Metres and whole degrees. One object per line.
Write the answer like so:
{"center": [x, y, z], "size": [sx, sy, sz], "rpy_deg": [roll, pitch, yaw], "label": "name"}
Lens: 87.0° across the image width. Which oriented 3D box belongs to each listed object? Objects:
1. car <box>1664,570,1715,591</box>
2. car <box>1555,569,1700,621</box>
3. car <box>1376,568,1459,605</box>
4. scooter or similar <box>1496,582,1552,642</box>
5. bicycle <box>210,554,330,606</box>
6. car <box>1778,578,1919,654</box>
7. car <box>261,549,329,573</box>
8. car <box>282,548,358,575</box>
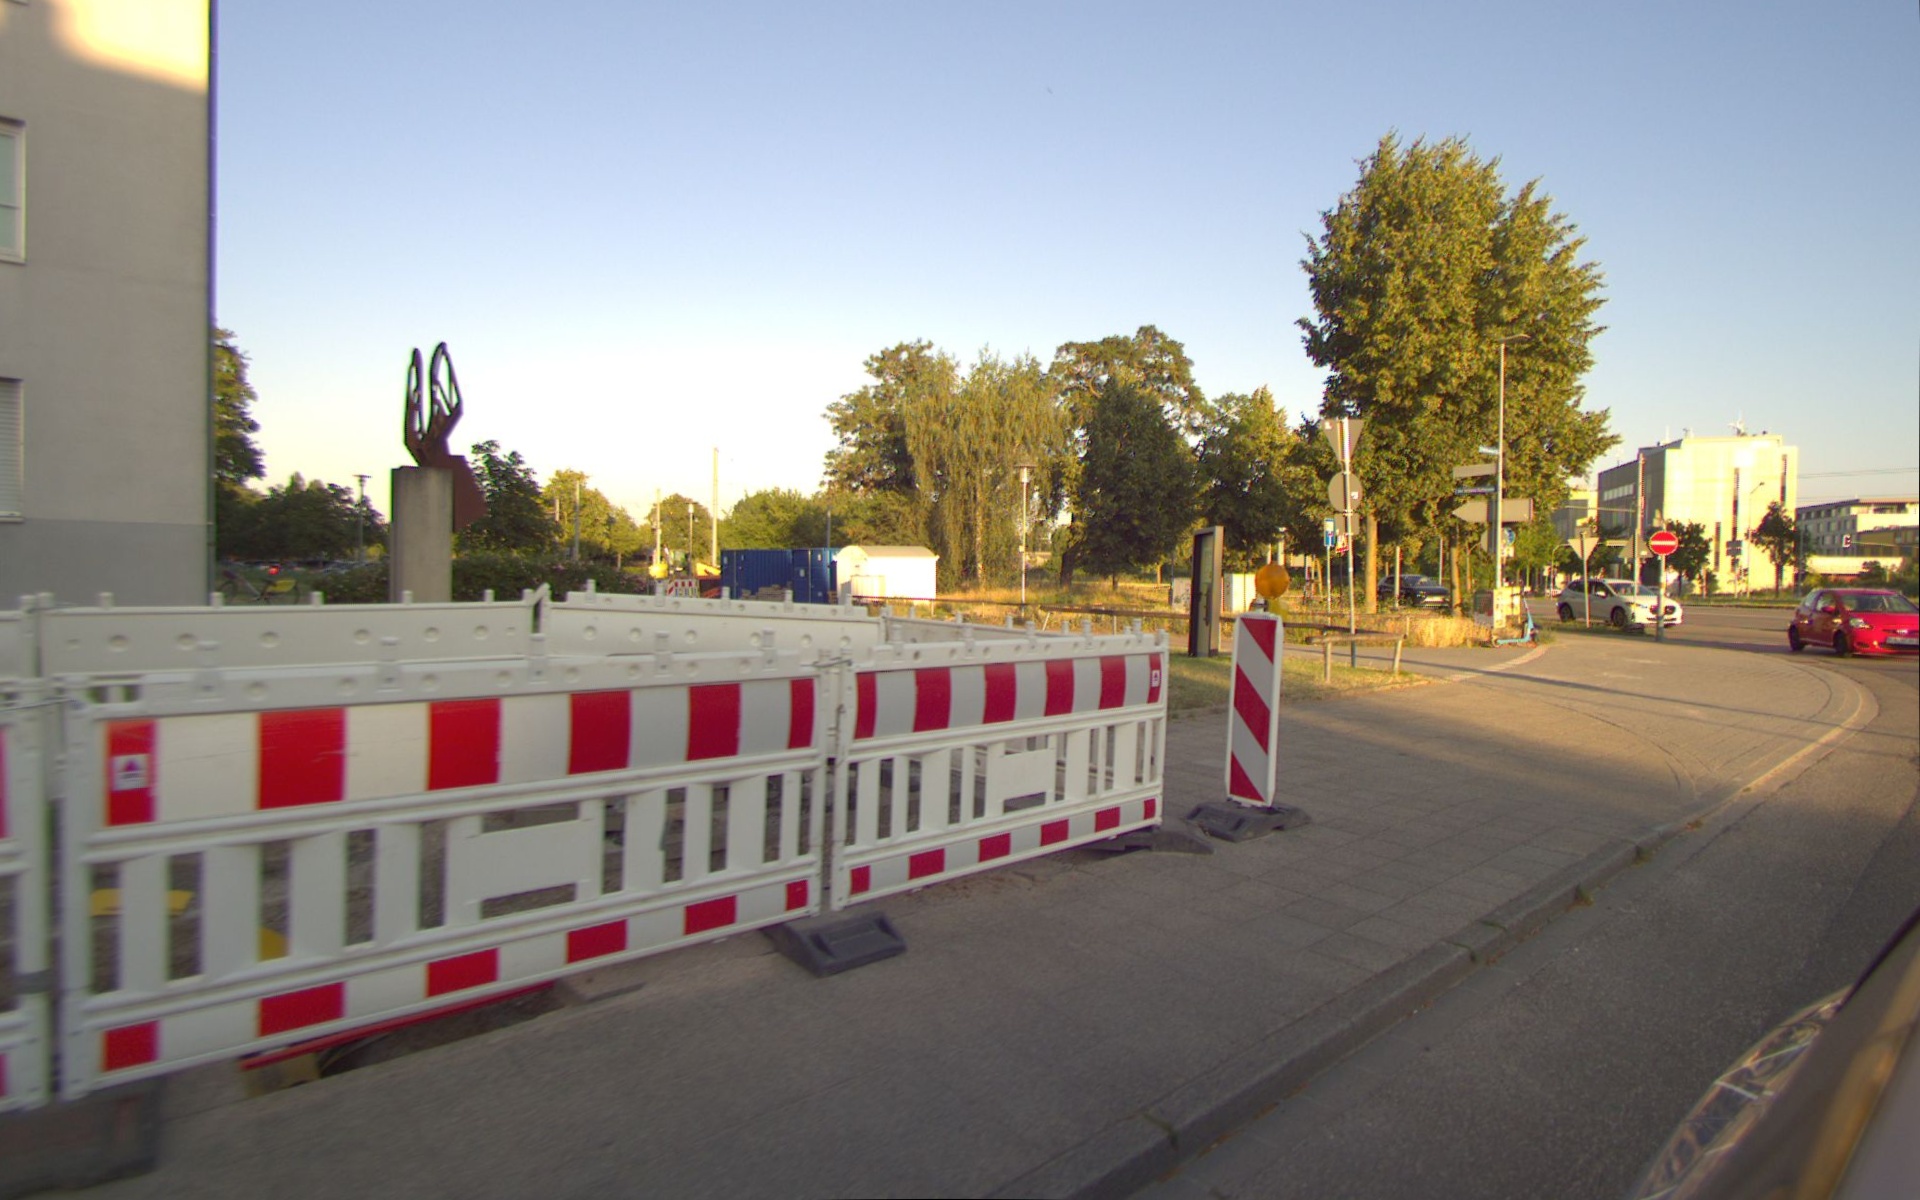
{"center": [47.094, -1.278, 65.421], "size": [1.599, 1.285, 3.791], "rpy_deg": [1, 2, 19], "label": "car"}
{"center": [22.377, -0.224, 34.145], "size": [1.756, 1.576, 4.414], "rpy_deg": [0, 2, -4], "label": "car"}
{"center": [21.193, -0.671, 47.072], "size": [1.757, 1.576, 4.412], "rpy_deg": [0, 2, -1], "label": "car"}
{"center": [12.062, 0.247, 21.642], "size": [1.141, 1.251, 0.197], "rpy_deg": [-1, 1, -7], "label": "scooter or similar"}
{"center": [-15.584, -0.471, 22.900], "size": [2.163, 1.103, 0.690], "rpy_deg": [-2, 3, -43], "label": "bicycle"}
{"center": [19.747, 0.268, 22.216], "size": [1.602, 1.430, 4.377], "rpy_deg": [0, 2, 23], "label": "car"}
{"center": [-51.363, -2.996, 78.205], "size": [4.126, 1.780, 1.727], "rpy_deg": [-1, 3, -44], "label": "car"}
{"center": [-43.547, -2.620, 68.914], "size": [4.126, 1.780, 1.727], "rpy_deg": [-1, 3, -44], "label": "car"}
